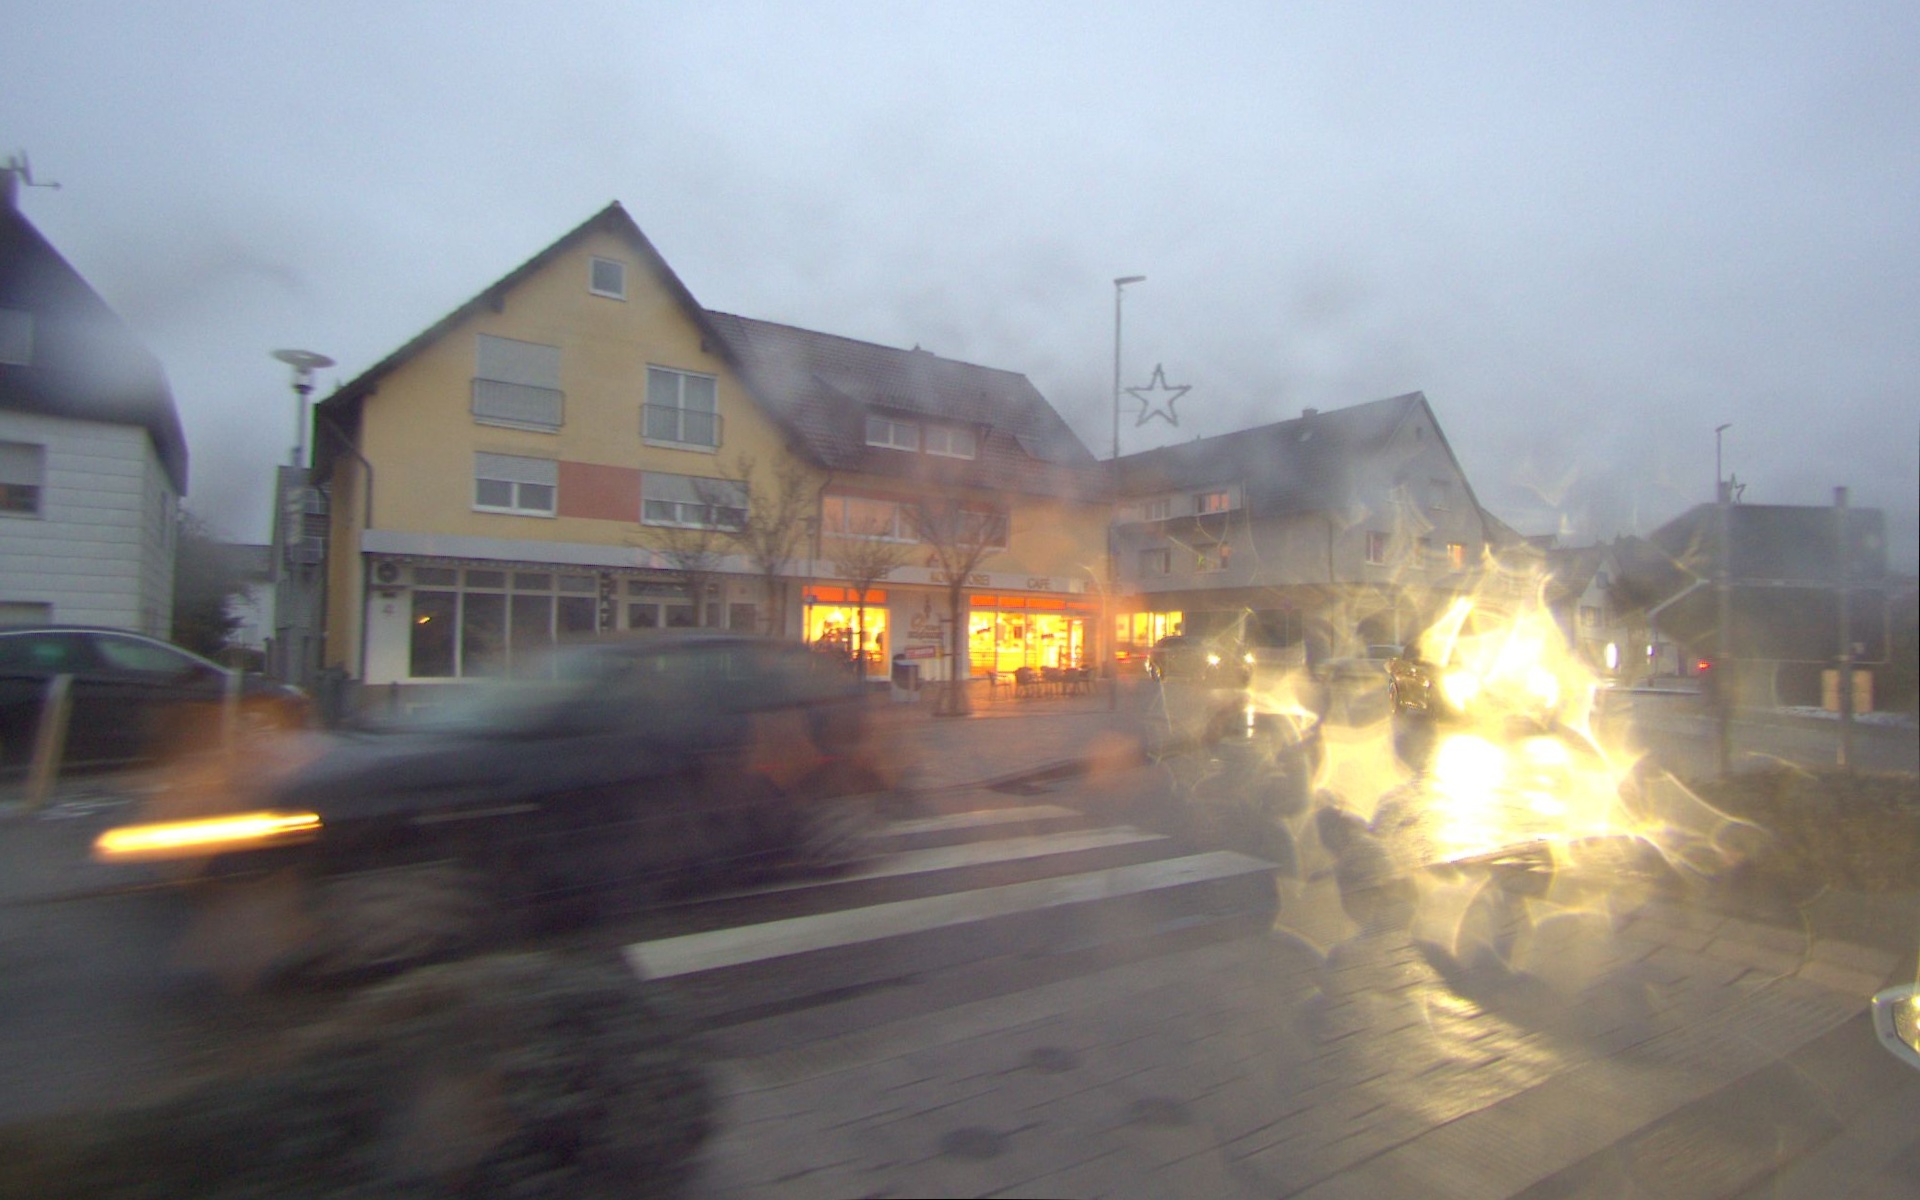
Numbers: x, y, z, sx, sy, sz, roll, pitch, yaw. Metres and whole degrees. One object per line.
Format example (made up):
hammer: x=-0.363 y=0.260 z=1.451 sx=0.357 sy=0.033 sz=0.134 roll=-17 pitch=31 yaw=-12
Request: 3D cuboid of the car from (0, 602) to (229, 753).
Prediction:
car: x=-11.424 y=0.933 z=12.069 sx=1.805 sy=1.692 sz=3.896 roll=-3 pitch=-3 yaw=23

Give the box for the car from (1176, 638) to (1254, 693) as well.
car: x=8.950 y=2.256 z=35.567 sx=1.914 sy=1.614 sz=4.634 roll=1 pitch=0 yaw=5

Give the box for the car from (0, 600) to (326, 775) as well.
car: x=-9.087 y=0.825 z=10.213 sx=1.876 sy=1.551 sz=4.182 roll=0 pitch=-2 yaw=19

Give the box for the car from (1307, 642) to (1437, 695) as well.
car: x=14.652 y=2.397 z=35.912 sx=1.687 sy=1.684 sz=4.027 roll=2 pitch=-2 yaw=-36

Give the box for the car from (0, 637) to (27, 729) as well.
car: x=-19.711 y=1.508 z=17.799 sx=4.376 sy=1.520 sz=1.899 roll=1 pitch=2 yaw=-34

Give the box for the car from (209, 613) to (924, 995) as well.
car: x=-1.911 y=0.815 z=5.504 sx=1.488 sy=1.430 sz=3.345 roll=-1 pitch=-2 yaw=44

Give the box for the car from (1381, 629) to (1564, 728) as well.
car: x=8.373 y=1.219 z=16.798 sx=1.680 sy=1.440 sz=4.016 roll=0 pitch=-2 yaw=11
